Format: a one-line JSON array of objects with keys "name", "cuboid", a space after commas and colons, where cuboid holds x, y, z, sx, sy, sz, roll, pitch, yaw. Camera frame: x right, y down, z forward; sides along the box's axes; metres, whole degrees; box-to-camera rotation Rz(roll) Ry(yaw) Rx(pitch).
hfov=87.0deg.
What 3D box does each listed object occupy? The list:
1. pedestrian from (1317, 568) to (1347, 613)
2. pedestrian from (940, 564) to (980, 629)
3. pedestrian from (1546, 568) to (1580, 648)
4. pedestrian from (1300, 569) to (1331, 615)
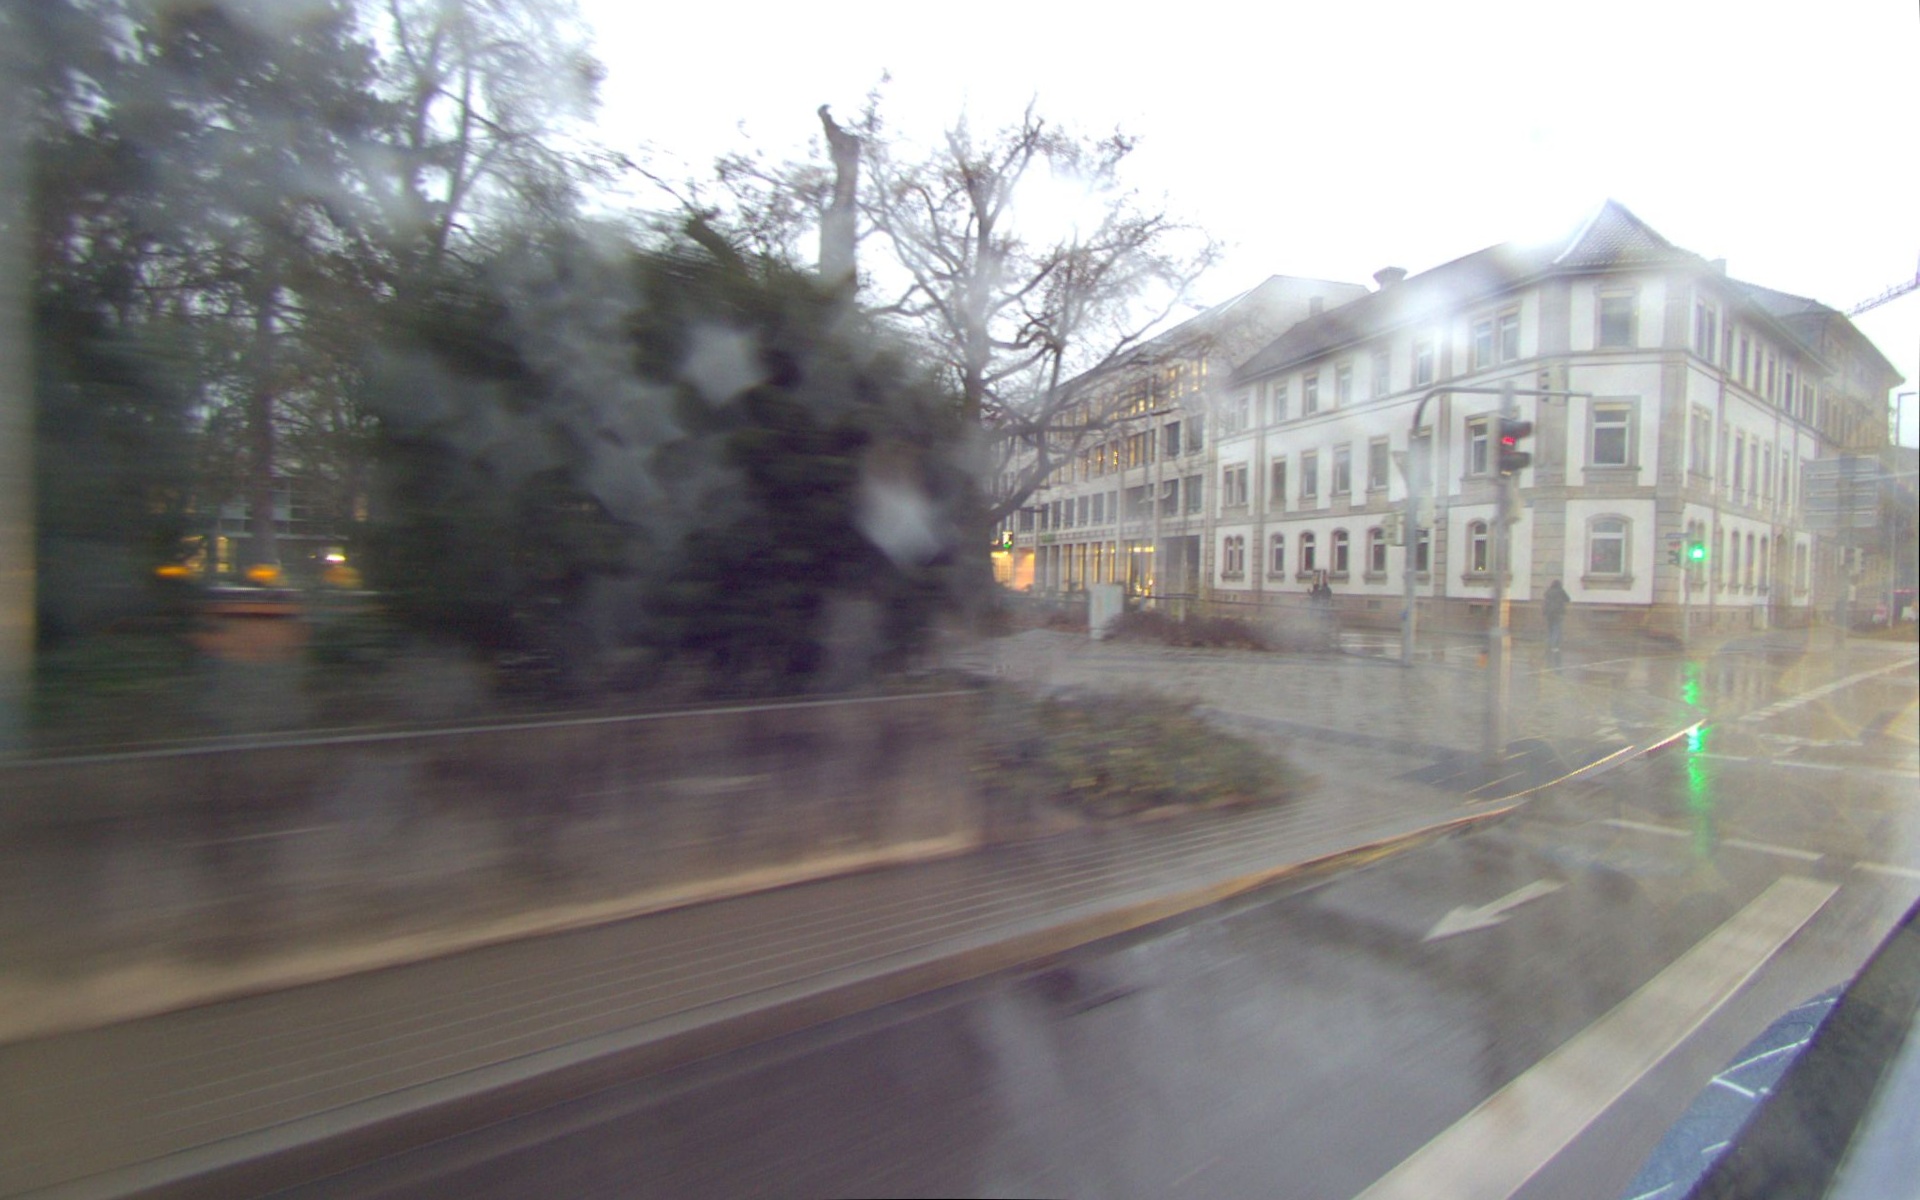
[{"name": "pedestrian", "cuboid": [16.602, -0.420, 45.157, 0.849, 2.006, 0.980, 0, 0, -18]}, {"name": "pedestrian", "cuboid": [0.000, -0.095, 26.641, 0.834, 1.661, 0.727, 0, 0, -20]}, {"name": "pedestrian", "cuboid": [14.564, 0.179, 24.460, 0.669, 1.903, 0.708, 0, 0, 28]}, {"name": "pedestrian", "cuboid": [15.755, -0.355, 44.867, 0.849, 2.006, 0.980, 0, 0, -18]}]
